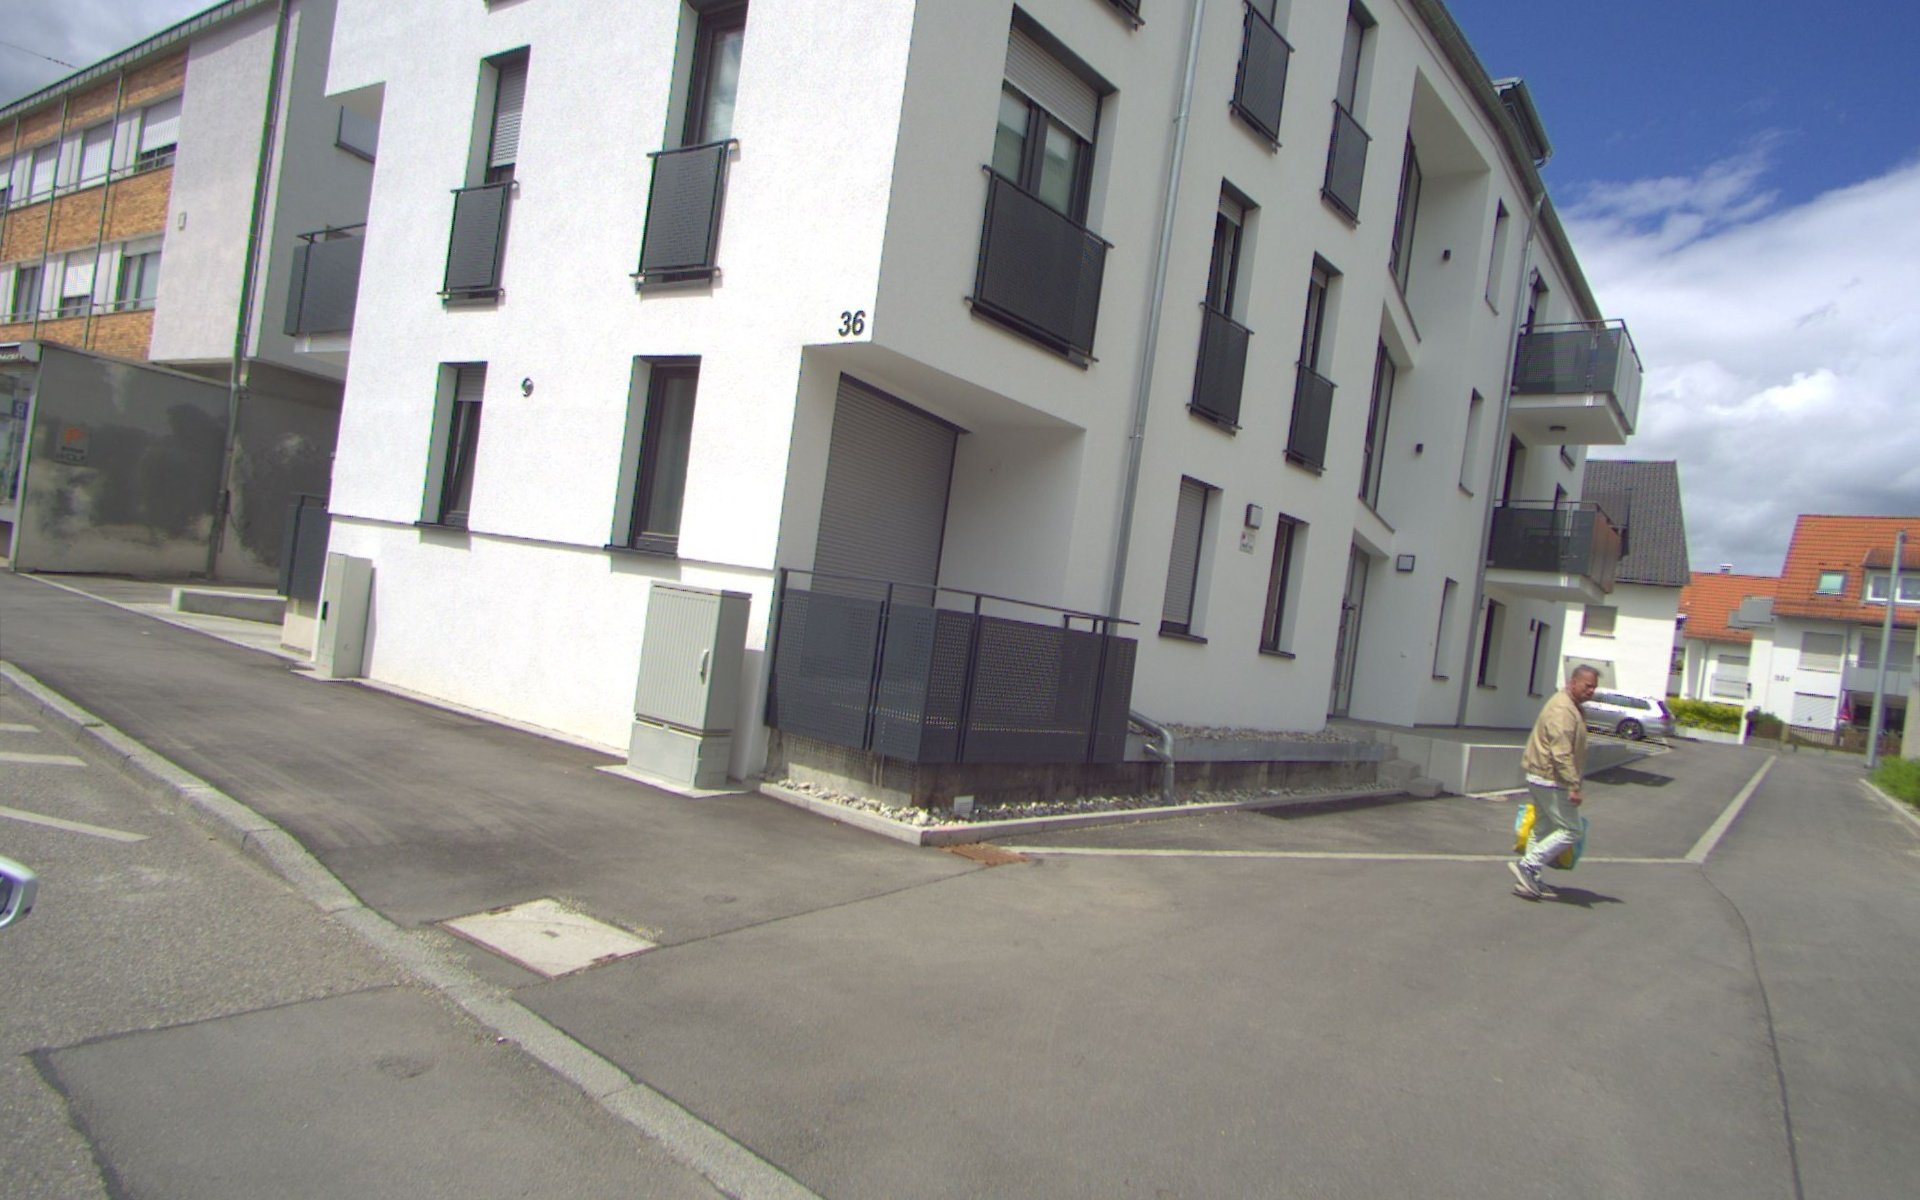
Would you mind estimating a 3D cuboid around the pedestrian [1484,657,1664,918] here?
[{"bbox_3d":[4.292,1.280,7.082,0.606,1.667,0.738,6,0,-10],"label":"pedestrian"}]

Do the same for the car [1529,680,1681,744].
[{"bbox_3d":[21.224,3.674,33.180,3.943,1.504,1.777,6,-1,40],"label":"car"}]
